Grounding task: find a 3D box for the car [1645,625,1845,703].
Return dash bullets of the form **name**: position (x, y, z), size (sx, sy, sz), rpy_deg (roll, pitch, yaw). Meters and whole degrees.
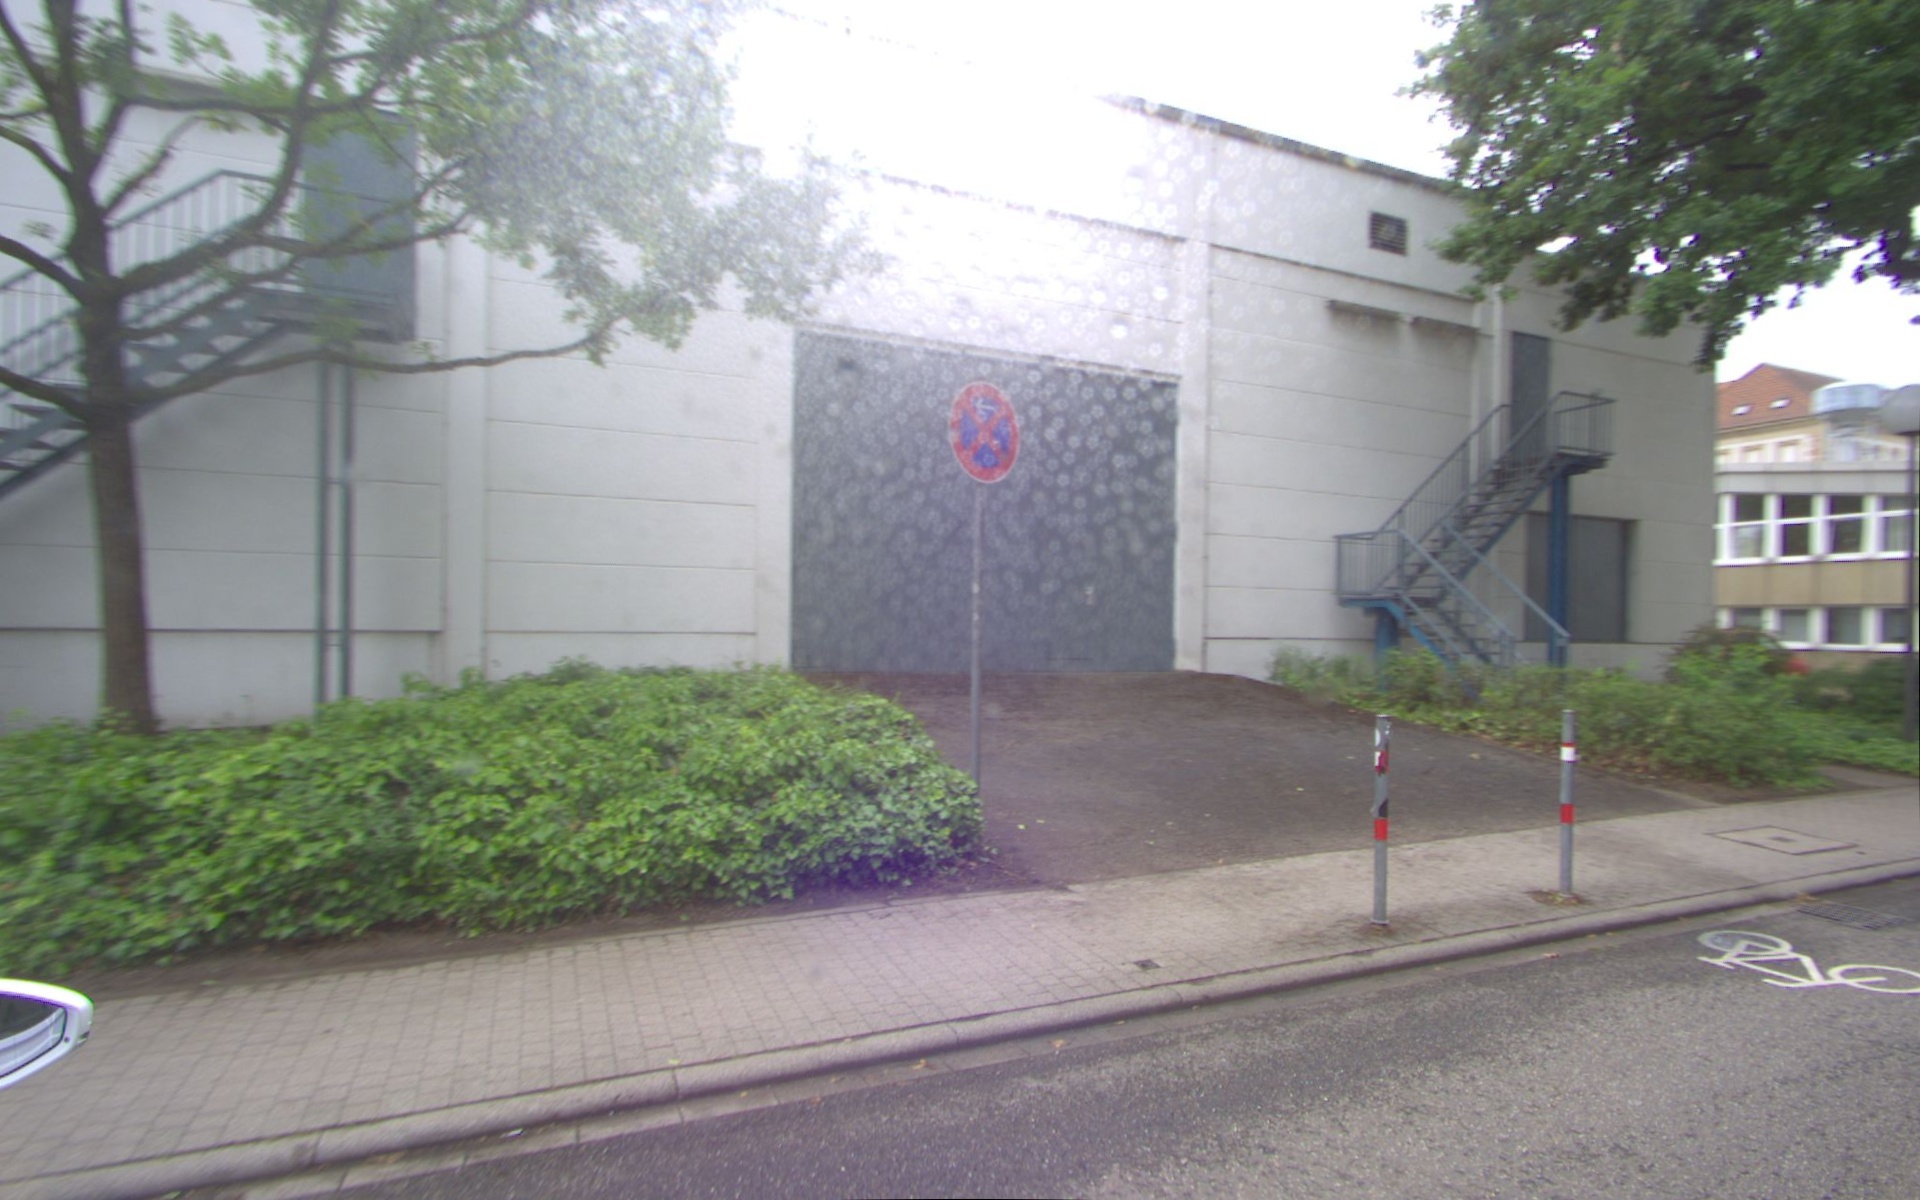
- **car**: position (17.255, 1.370, 22.011), size (3.937, 1.550, 1.862), rpy_deg (1, -1, -24)
